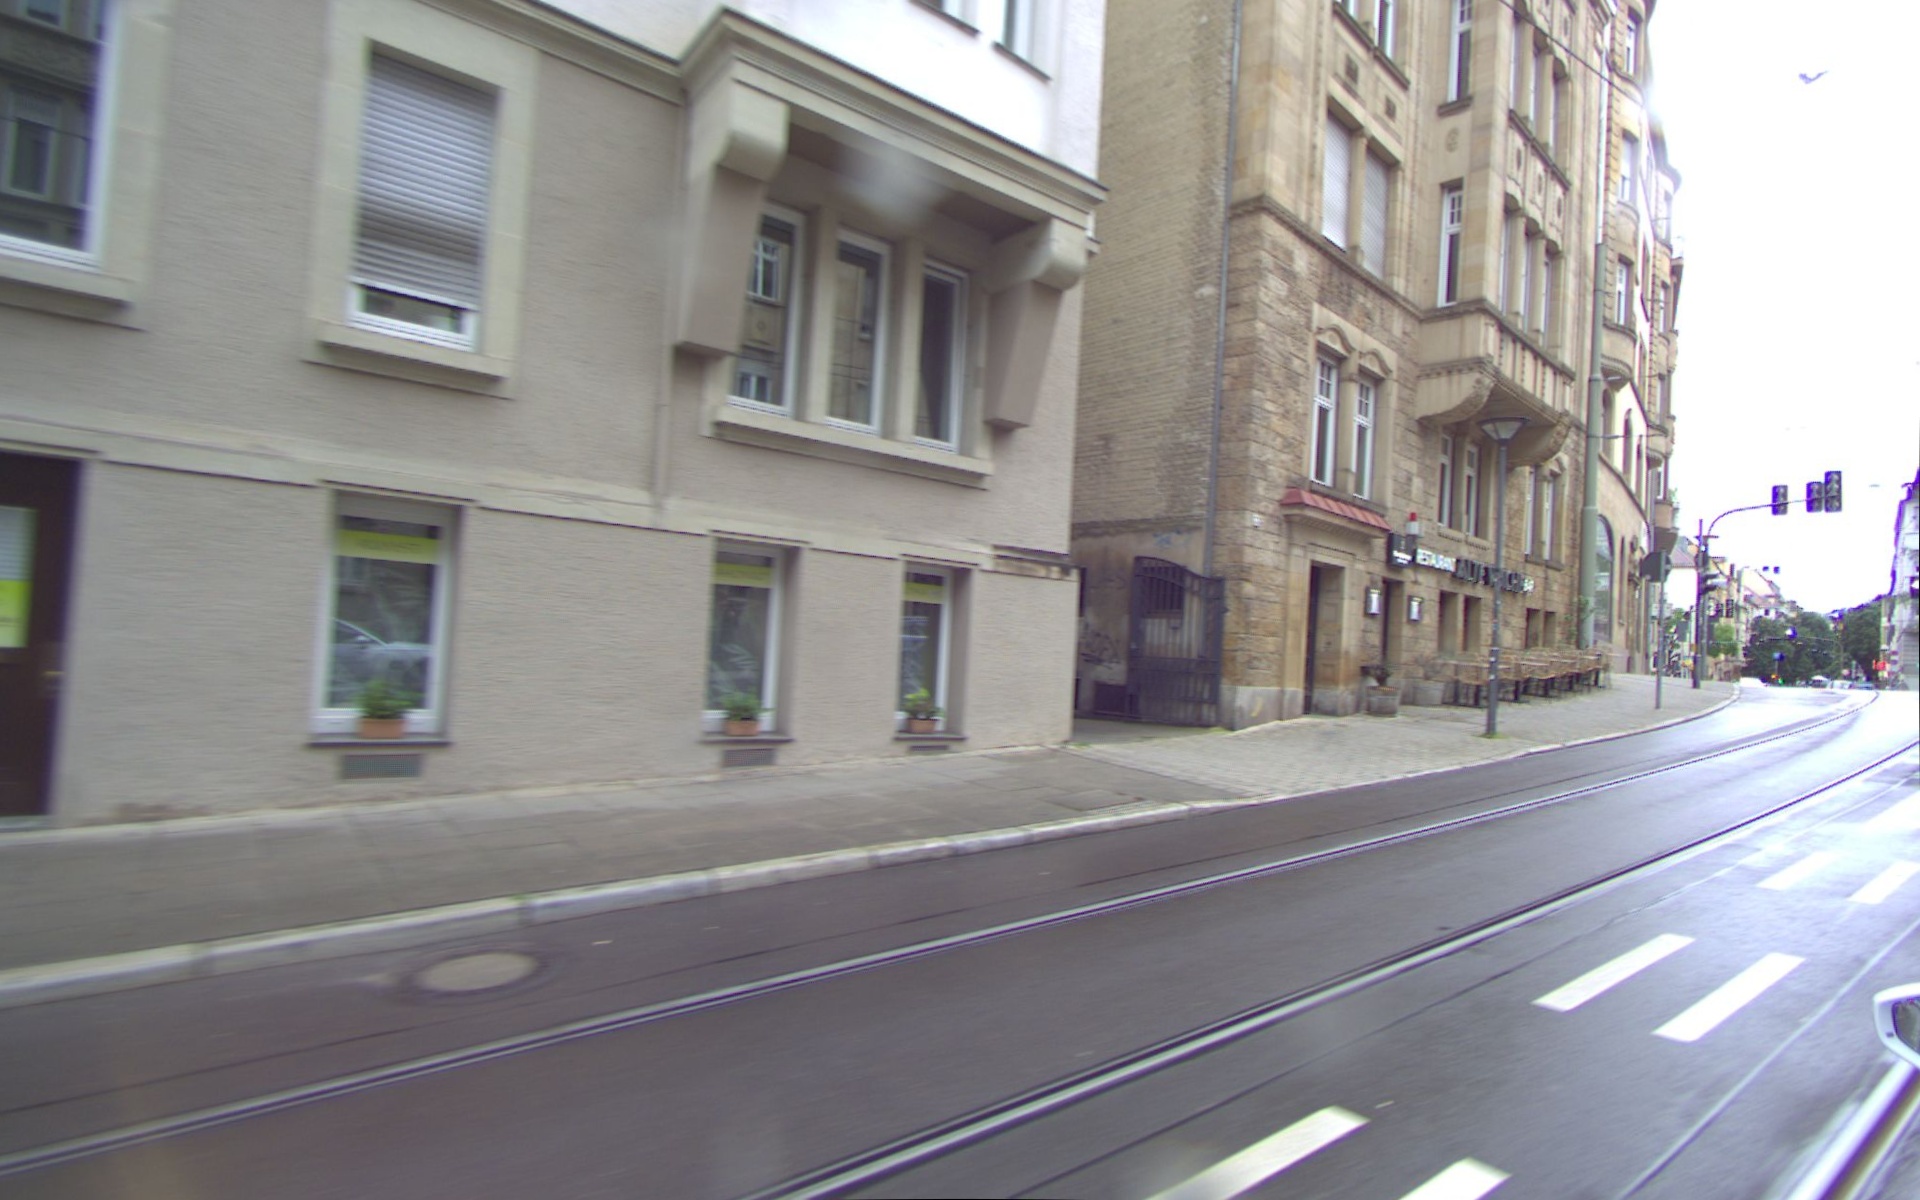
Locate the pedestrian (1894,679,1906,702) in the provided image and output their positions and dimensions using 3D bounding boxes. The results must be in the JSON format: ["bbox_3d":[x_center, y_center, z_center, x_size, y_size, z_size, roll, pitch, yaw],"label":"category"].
[{"bbox_3d":[71.037,6.846,75.893,0.641,1.683,0.646,1,0,43],"label":"pedestrian"}]

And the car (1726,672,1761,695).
[{"bbox_3d":[62.032,6.572,79.626,1.769,1.530,4.653,-1,-2,33],"label":"car"}]

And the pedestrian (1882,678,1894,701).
[{"bbox_3d":[72.791,7.006,78.812,0.641,1.683,0.646,1,0,43],"label":"pedestrian"}]
